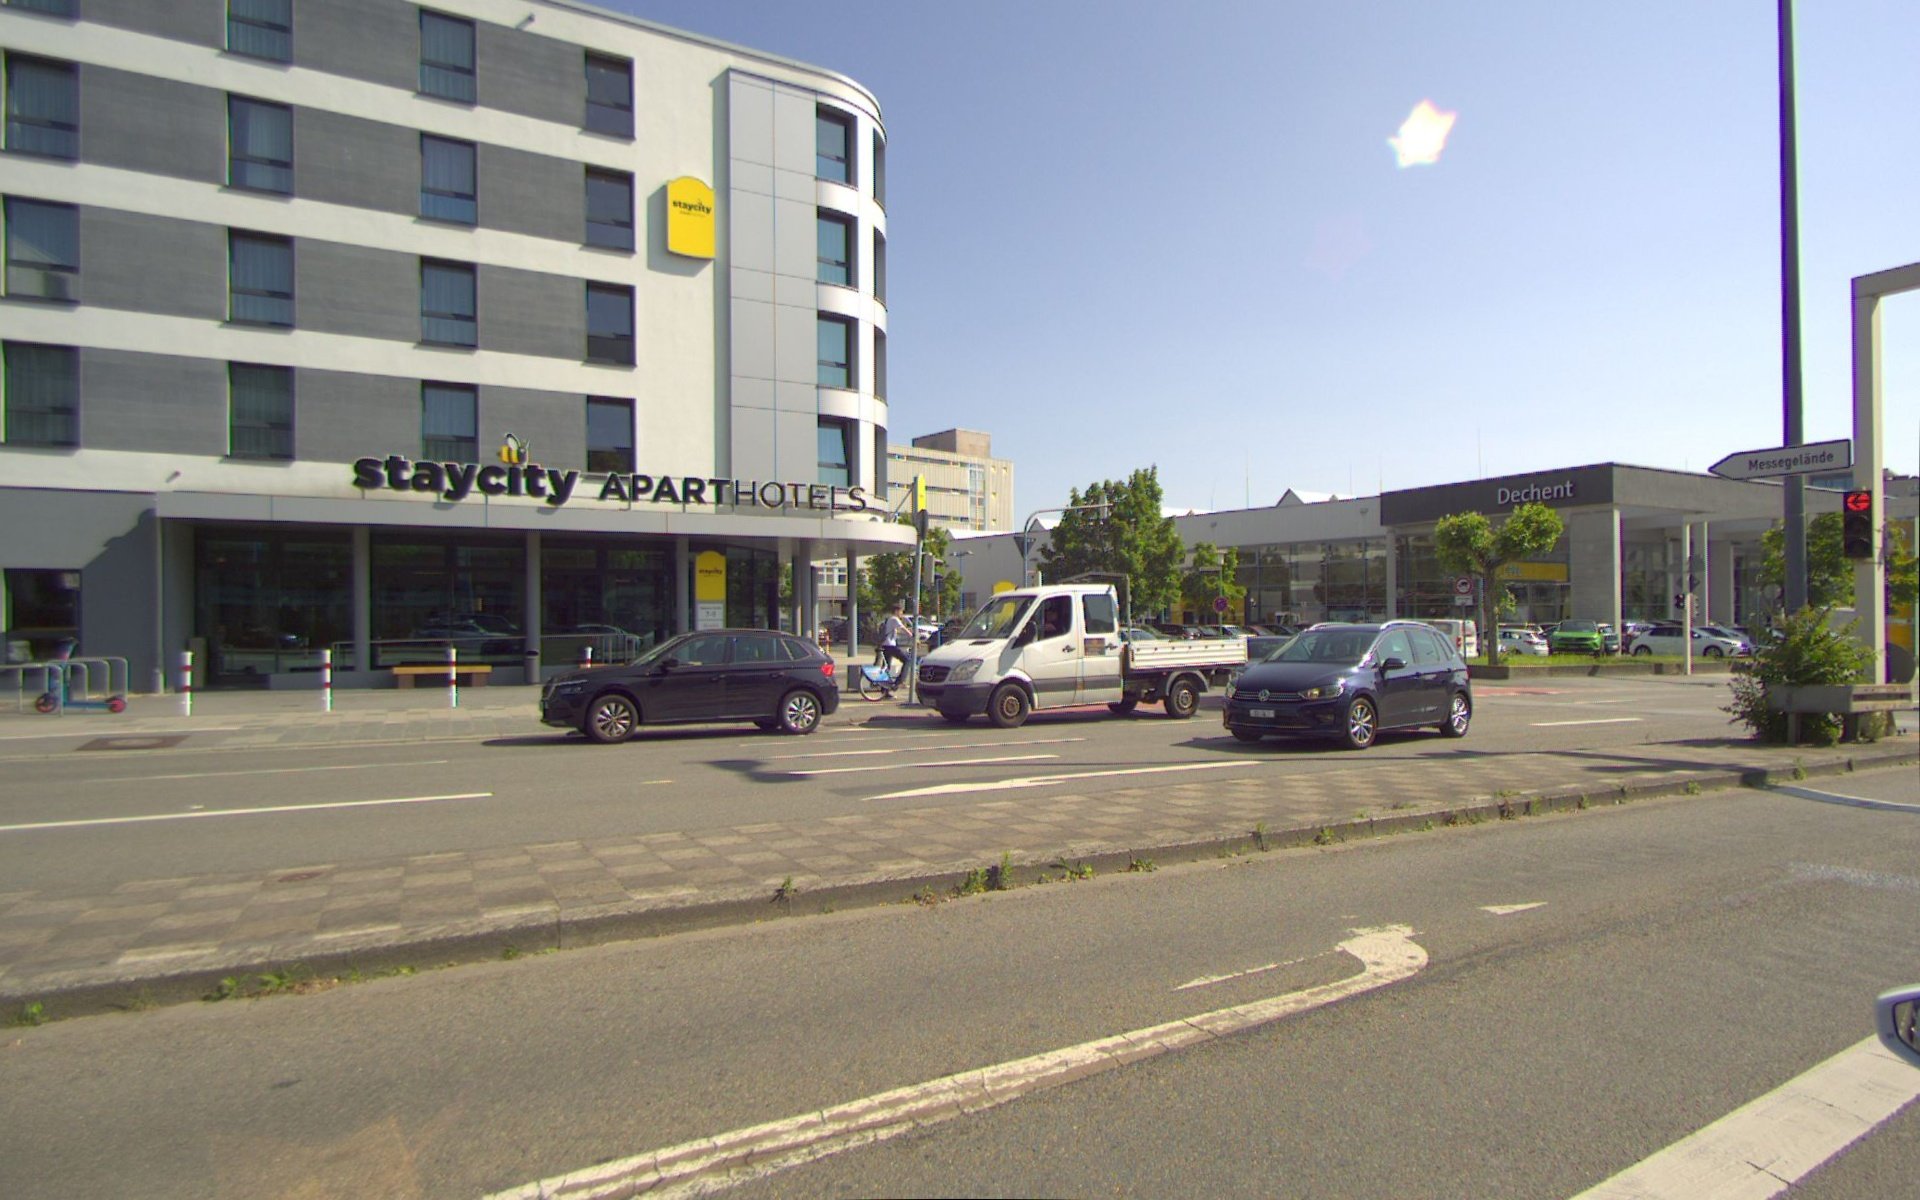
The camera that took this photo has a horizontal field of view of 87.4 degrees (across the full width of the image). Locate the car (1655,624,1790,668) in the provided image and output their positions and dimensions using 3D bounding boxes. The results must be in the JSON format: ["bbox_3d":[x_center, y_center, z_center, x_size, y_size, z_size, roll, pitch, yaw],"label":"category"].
[{"bbox_3d":[32.856,1.952,43.403,1.978,1.789,4.274,1,-2,-32],"label":"car"}]

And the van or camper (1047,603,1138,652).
[{"bbox_3d":[6.851,1.409,52.434,1.983,2.432,4.678,1,-2,-38],"label":"van or camper"}]

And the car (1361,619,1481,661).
[{"bbox_3d":[19.825,1.704,43.348,1.982,1.719,4.323,1,-2,-38],"label":"car"}]

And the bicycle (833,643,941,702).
[{"bbox_3d":[-1.457,1.451,20.298,2.119,1.131,0.770,0,-1,0],"label":"bicycle"}]

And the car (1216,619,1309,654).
[{"bbox_3d":[15.818,1.882,52.690,1.982,1.719,4.324,1,-2,-37],"label":"car"}]

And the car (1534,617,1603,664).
[{"bbox_3d":[23.998,1.609,39.714,1.870,1.756,3.293,0,-3,23],"label":"car"}]

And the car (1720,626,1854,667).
[{"bbox_3d":[37.444,2.078,45.590,1.978,1.719,4.333,1,-1,-32],"label":"car"}]

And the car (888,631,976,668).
[{"bbox_3d":[-1.312,2.172,45.049,1.979,1.466,4.331,2,-1,-33],"label":"car"}]

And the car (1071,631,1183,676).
[{"bbox_3d":[5.867,1.859,35.703,1.759,1.457,3.879,1,-2,-34],"label":"car"}]

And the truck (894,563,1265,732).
[{"bbox_3d":[2.189,0.840,17.863,6.355,2.578,2.349,1,-3,-28],"label":"truck"}]

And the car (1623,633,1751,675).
[{"bbox_3d":[30.470,2.204,42.170,1.981,1.620,3.959,1,-2,-36],"label":"car"}]

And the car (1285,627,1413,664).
[{"bbox_3d":[15.083,1.747,39.120,1.980,1.317,4.328,1,-2,-35],"label":"car"}]

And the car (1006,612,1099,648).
[{"bbox_3d":[4.614,1.466,50.298,4.304,1.719,1.991,-1,-2,39],"label":"car"}]

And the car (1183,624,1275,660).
[{"bbox_3d":[13.745,2.123,51.517,1.980,1.719,4.328,1,-2,-35],"label":"car"}]

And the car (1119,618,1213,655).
[{"bbox_3d":[9.858,1.735,48.359,1.980,1.719,4.328,1,-2,-35],"label":"car"}]

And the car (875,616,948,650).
[{"bbox_3d":[-2.900,1.911,59.492,1.971,1.815,4.376,2,0,-42],"label":"car"}]

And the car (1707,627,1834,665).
[{"bbox_3d":[38.618,2.168,47.973,1.978,1.719,4.333,1,-2,-32],"label":"car"}]

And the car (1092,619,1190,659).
[{"bbox_3d":[8.264,1.756,46.142,1.980,1.719,4.328,1,-2,-35],"label":"car"}]

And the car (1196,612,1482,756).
[{"bbox_3d":[5.166,1.009,13.458,4.101,1.639,1.869,2,-2,-40],"label":"car"}]

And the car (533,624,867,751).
[{"bbox_3d":[-3.749,1.192,14.650,4.360,1.598,1.985,1,-3,-30],"label":"car"}]

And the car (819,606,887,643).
[{"bbox_3d":[-6.809,1.520,63.469,1.985,2.158,4.565,2,0,-42],"label":"car"}]

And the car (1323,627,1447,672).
[{"bbox_3d":[17.438,1.988,41.369,1.982,1.719,4.325,1,-2,-37],"label":"car"}]

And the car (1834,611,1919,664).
[{"bbox_3d":[49.020,1.939,52.582,2.096,2.720,4.490,1,-1,-21],"label":"car"}]

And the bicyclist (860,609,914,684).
[{"bbox_3d":[-1.464,0.931,20.312,1.007,1.479,0.770,0,-1,0],"label":"bicyclist"}]

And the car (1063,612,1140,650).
[{"bbox_3d":[7.761,1.696,55.300,1.983,2.040,3.956,1,-2,-38],"label":"car"}]

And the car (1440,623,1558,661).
[{"bbox_3d":[24.557,1.872,45.876,1.982,1.612,4.325,1,-2,-37],"label":"car"}]

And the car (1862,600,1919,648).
[{"bbox_3d":[53.243,1.351,55.750,1.973,2.635,4.345,1,-1,-24],"label":"car"}]

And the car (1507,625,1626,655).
[{"bbox_3d":[27.871,1.836,46.263,1.982,1.284,4.325,4,-4,-37],"label":"car"}]

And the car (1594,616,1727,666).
[{"bbox_3d":[27.407,1.576,39.408,1.978,1.862,3.849,1,-2,-32],"label":"car"}]

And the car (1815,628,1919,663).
[{"bbox_3d":[46.889,2.297,51.419,1.973,1.719,4.345,1,-1,-24],"label":"car"}]

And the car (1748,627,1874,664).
[{"bbox_3d":[41.582,2.185,49.176,1.978,1.719,4.333,1,-2,-32],"label":"car"}]

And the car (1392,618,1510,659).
[{"bbox_3d":[21.755,1.686,44.648,1.982,1.719,4.323,1,-2,-38],"label":"car"}]

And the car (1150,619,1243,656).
[{"bbox_3d":[11.649,1.815,49.698,1.980,1.719,4.328,1,-2,-35],"label":"car"}]

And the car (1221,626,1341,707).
[{"bbox_3d":[6.807,1.346,21.725,1.866,1.378,4.002,3,1,10],"label":"car"}]
